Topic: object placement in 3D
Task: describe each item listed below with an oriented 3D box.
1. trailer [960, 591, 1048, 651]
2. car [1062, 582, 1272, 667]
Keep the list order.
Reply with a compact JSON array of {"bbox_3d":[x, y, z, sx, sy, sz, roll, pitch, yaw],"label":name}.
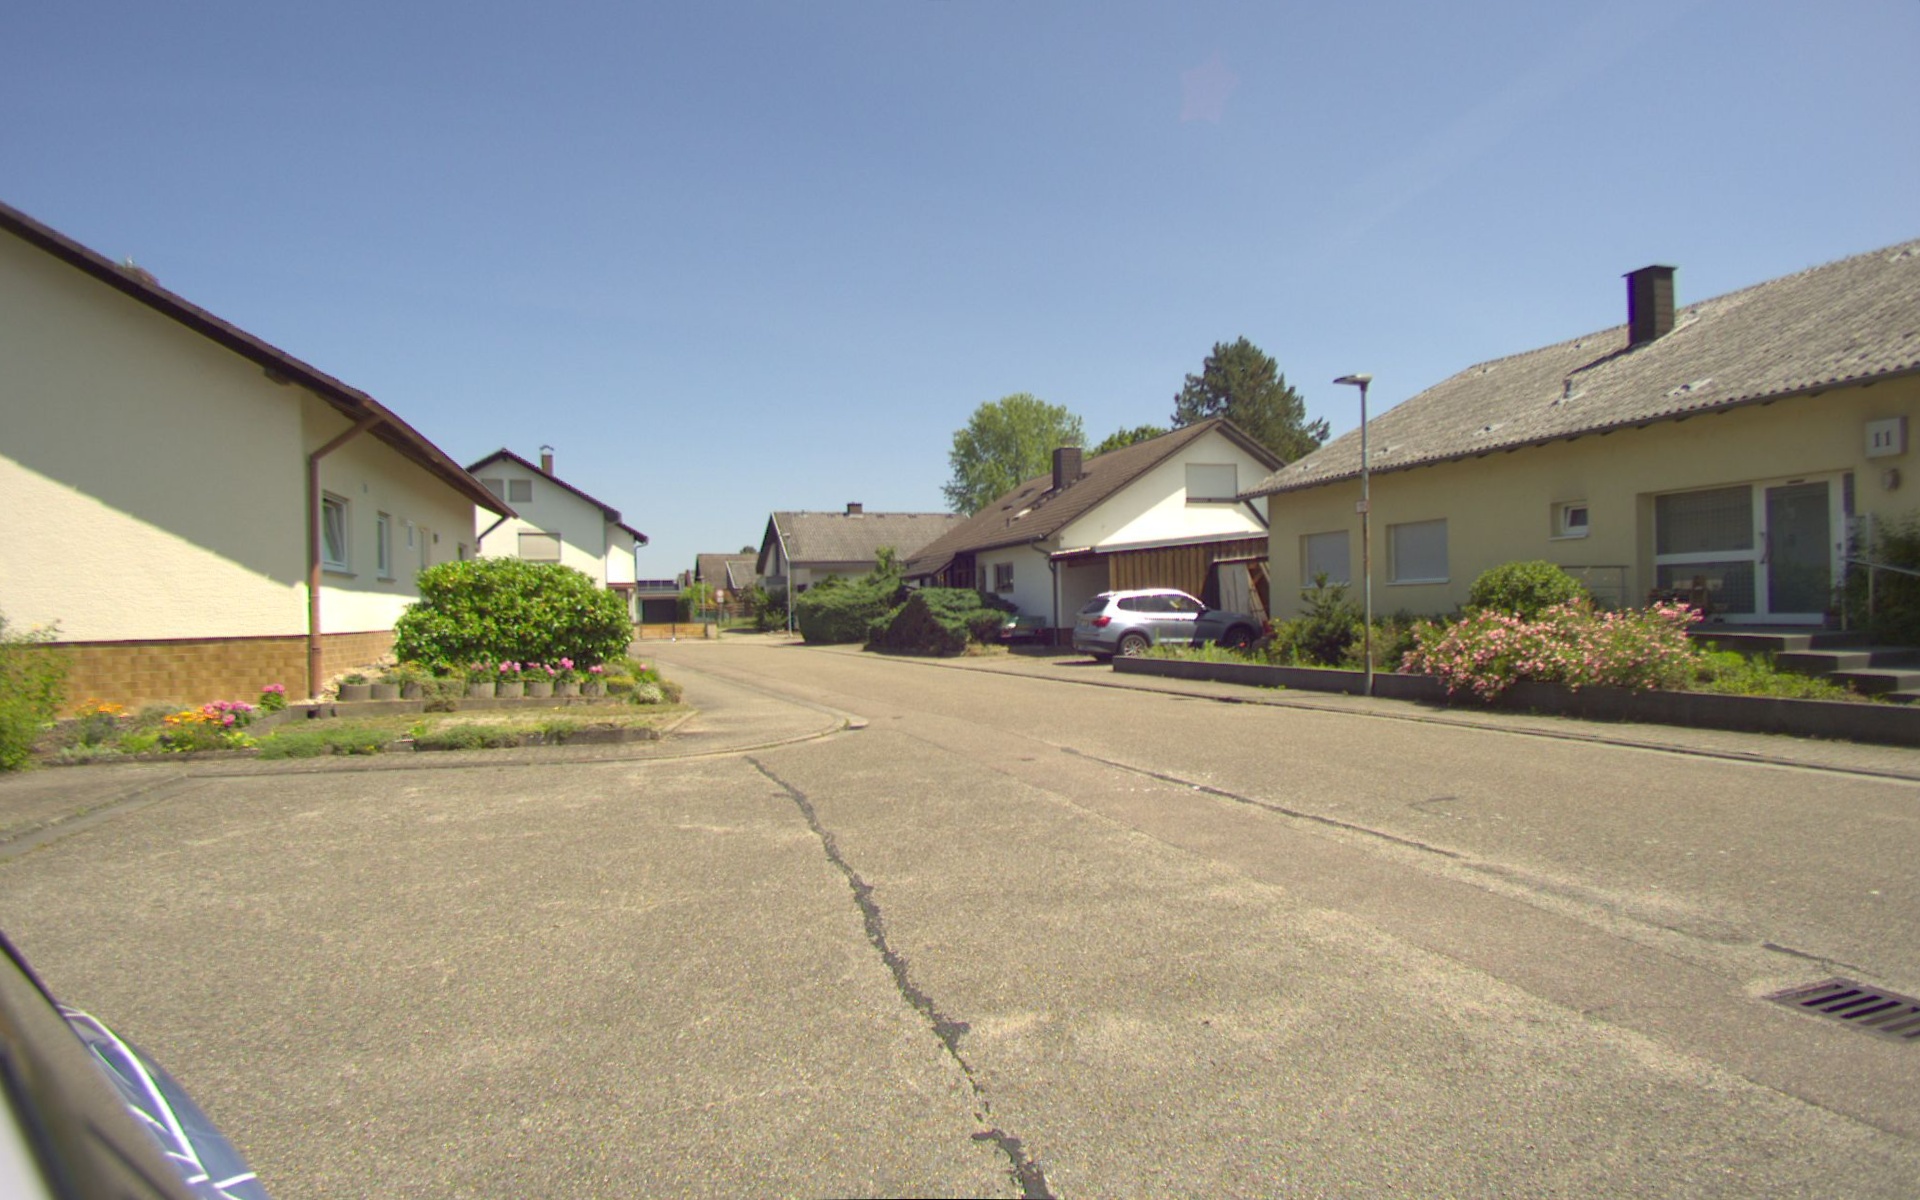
[{"bbox_3d":[1.290,0.616,31.133,1.565,1.685,3.307,-3,1,-18],"label":"trailer"},{"bbox_3d":[4.946,0.565,24.302,4.564,1.715,1.714,-3,0,-15],"label":"car"}]
